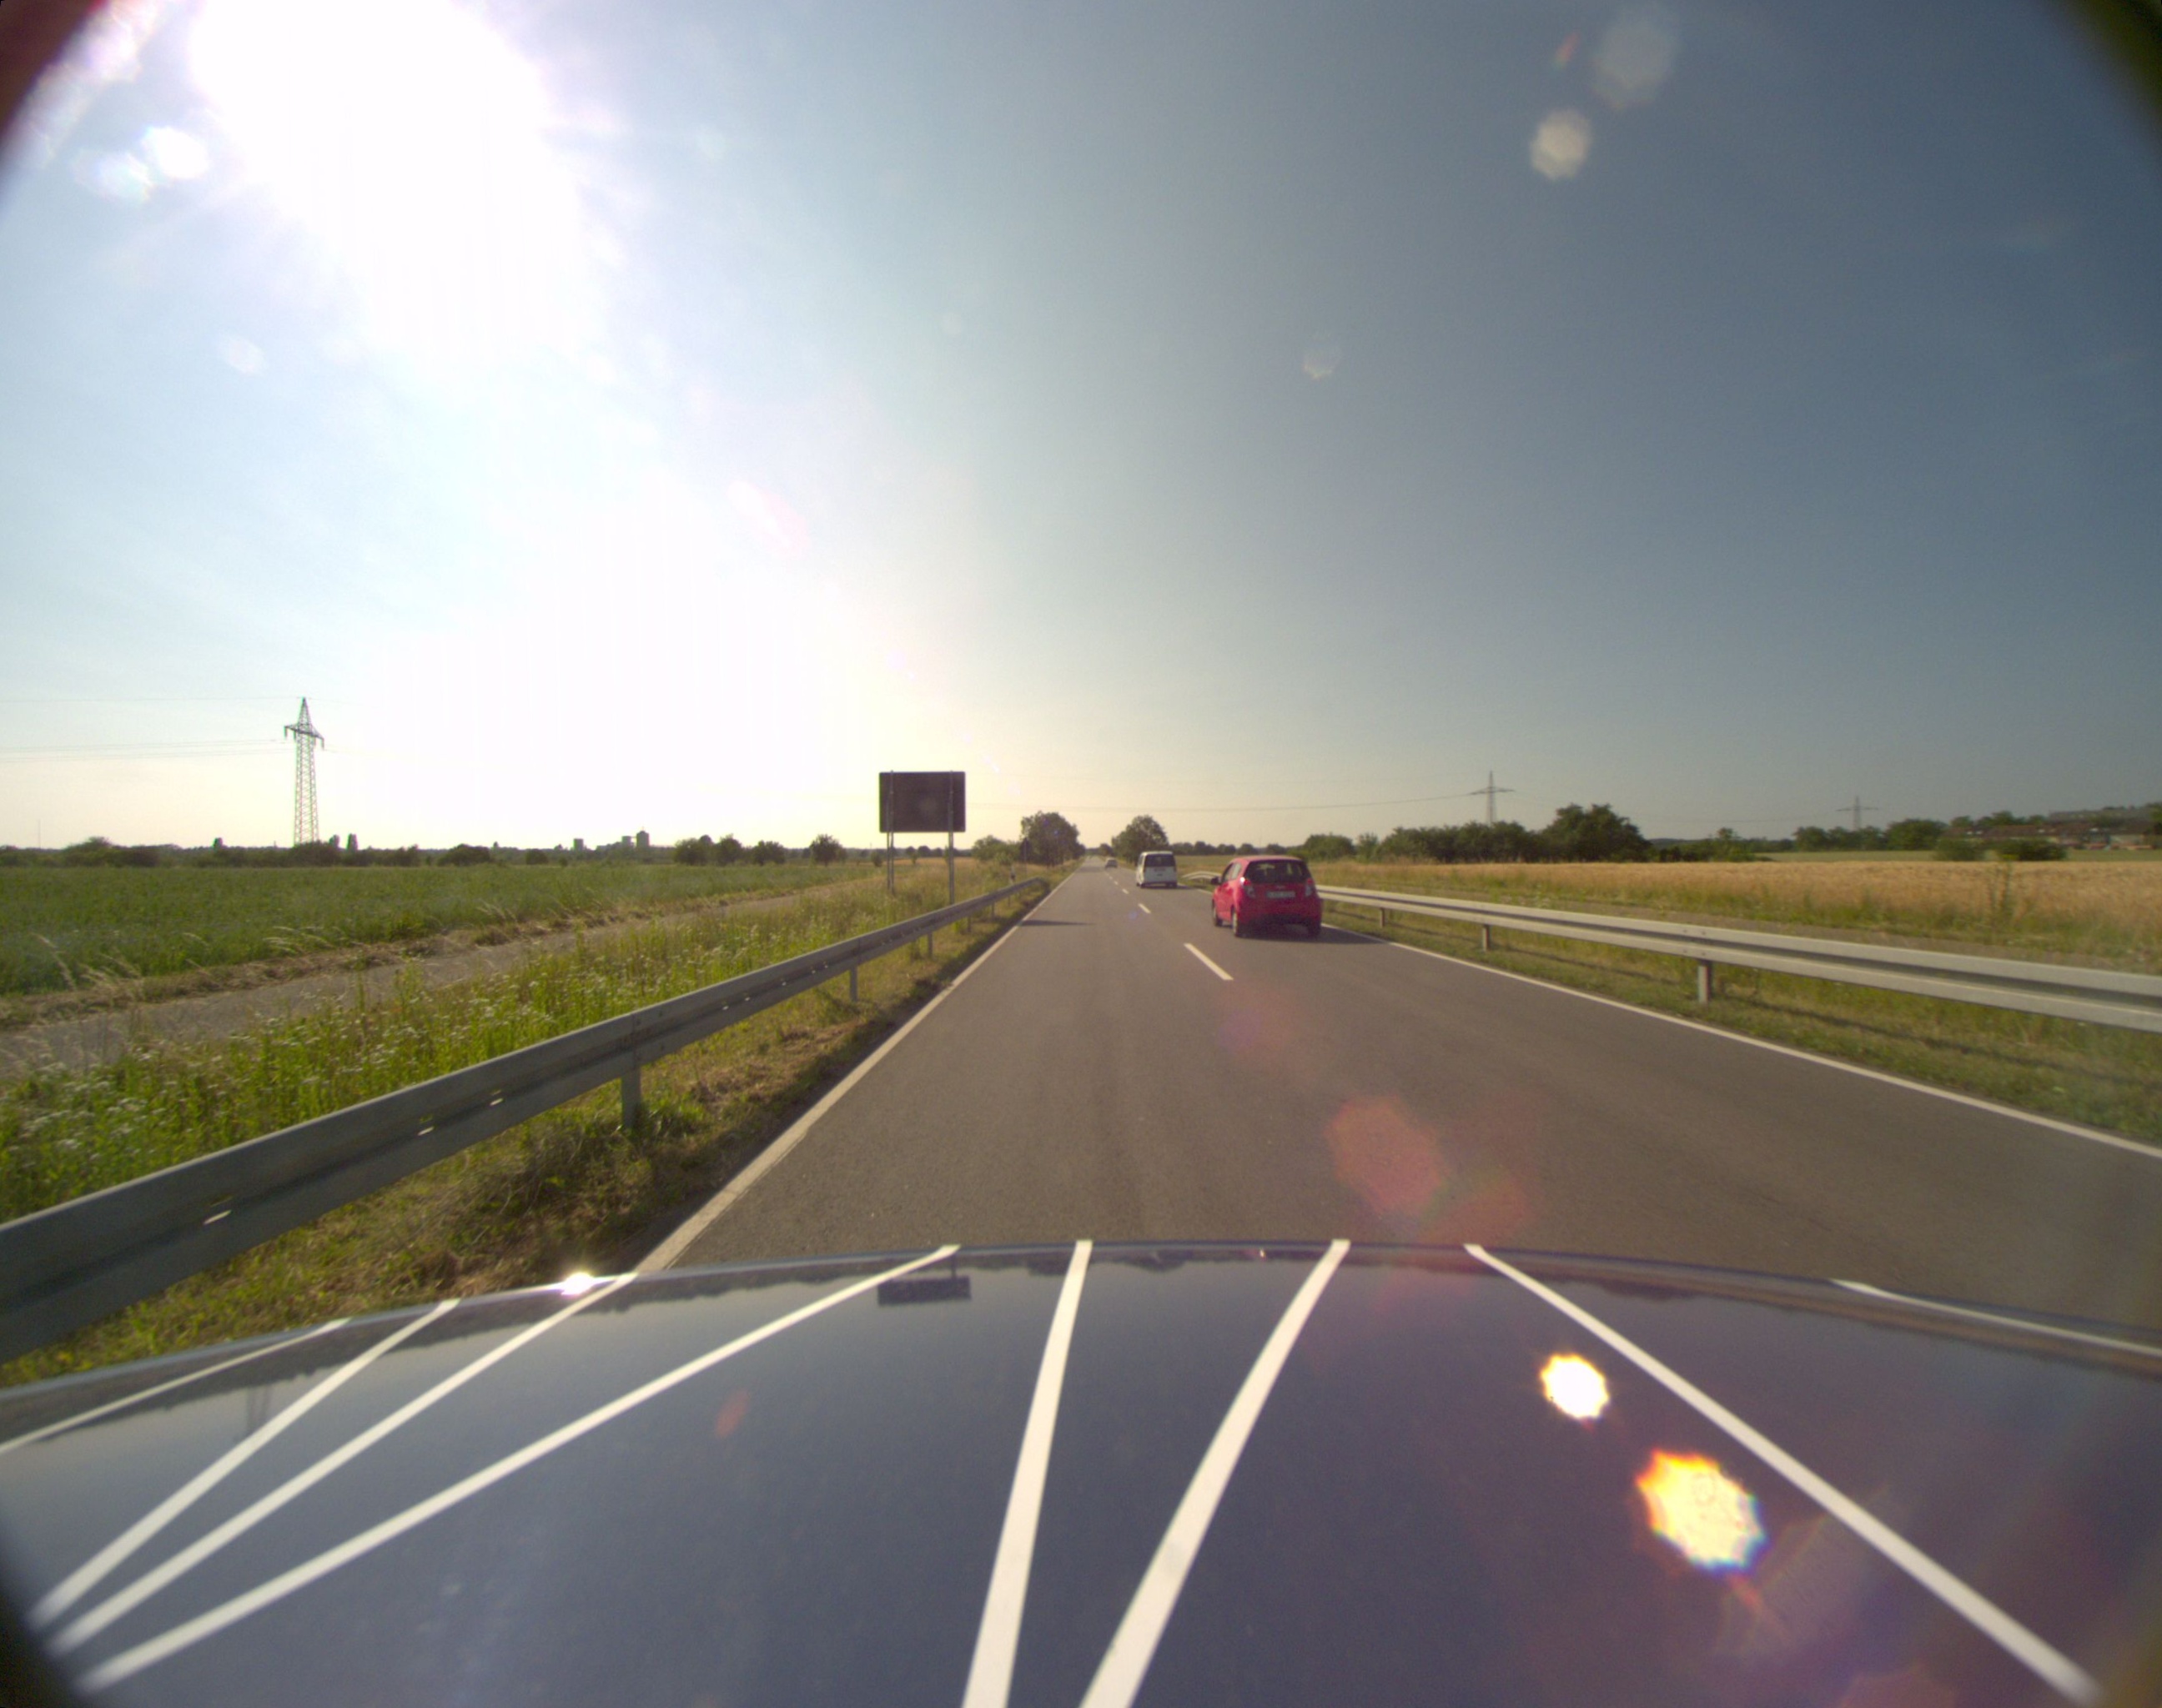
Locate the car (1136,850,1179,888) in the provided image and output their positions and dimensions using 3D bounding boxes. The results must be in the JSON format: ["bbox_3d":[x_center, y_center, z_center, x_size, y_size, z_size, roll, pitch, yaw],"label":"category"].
[{"bbox_3d":[3.843,0.729,39.009,1.841,1.776,4.434,-1,0,1],"label":"car"}]

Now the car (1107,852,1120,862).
[{"bbox_3d":[4.953,0.511,115.562,1.731,1.429,4.516,-1,0,0],"label":"car"}]

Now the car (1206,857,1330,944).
[{"bbox_3d":[3.641,0.838,15.422,1.610,1.479,3.780,-1,0,1],"label":"car"}]
